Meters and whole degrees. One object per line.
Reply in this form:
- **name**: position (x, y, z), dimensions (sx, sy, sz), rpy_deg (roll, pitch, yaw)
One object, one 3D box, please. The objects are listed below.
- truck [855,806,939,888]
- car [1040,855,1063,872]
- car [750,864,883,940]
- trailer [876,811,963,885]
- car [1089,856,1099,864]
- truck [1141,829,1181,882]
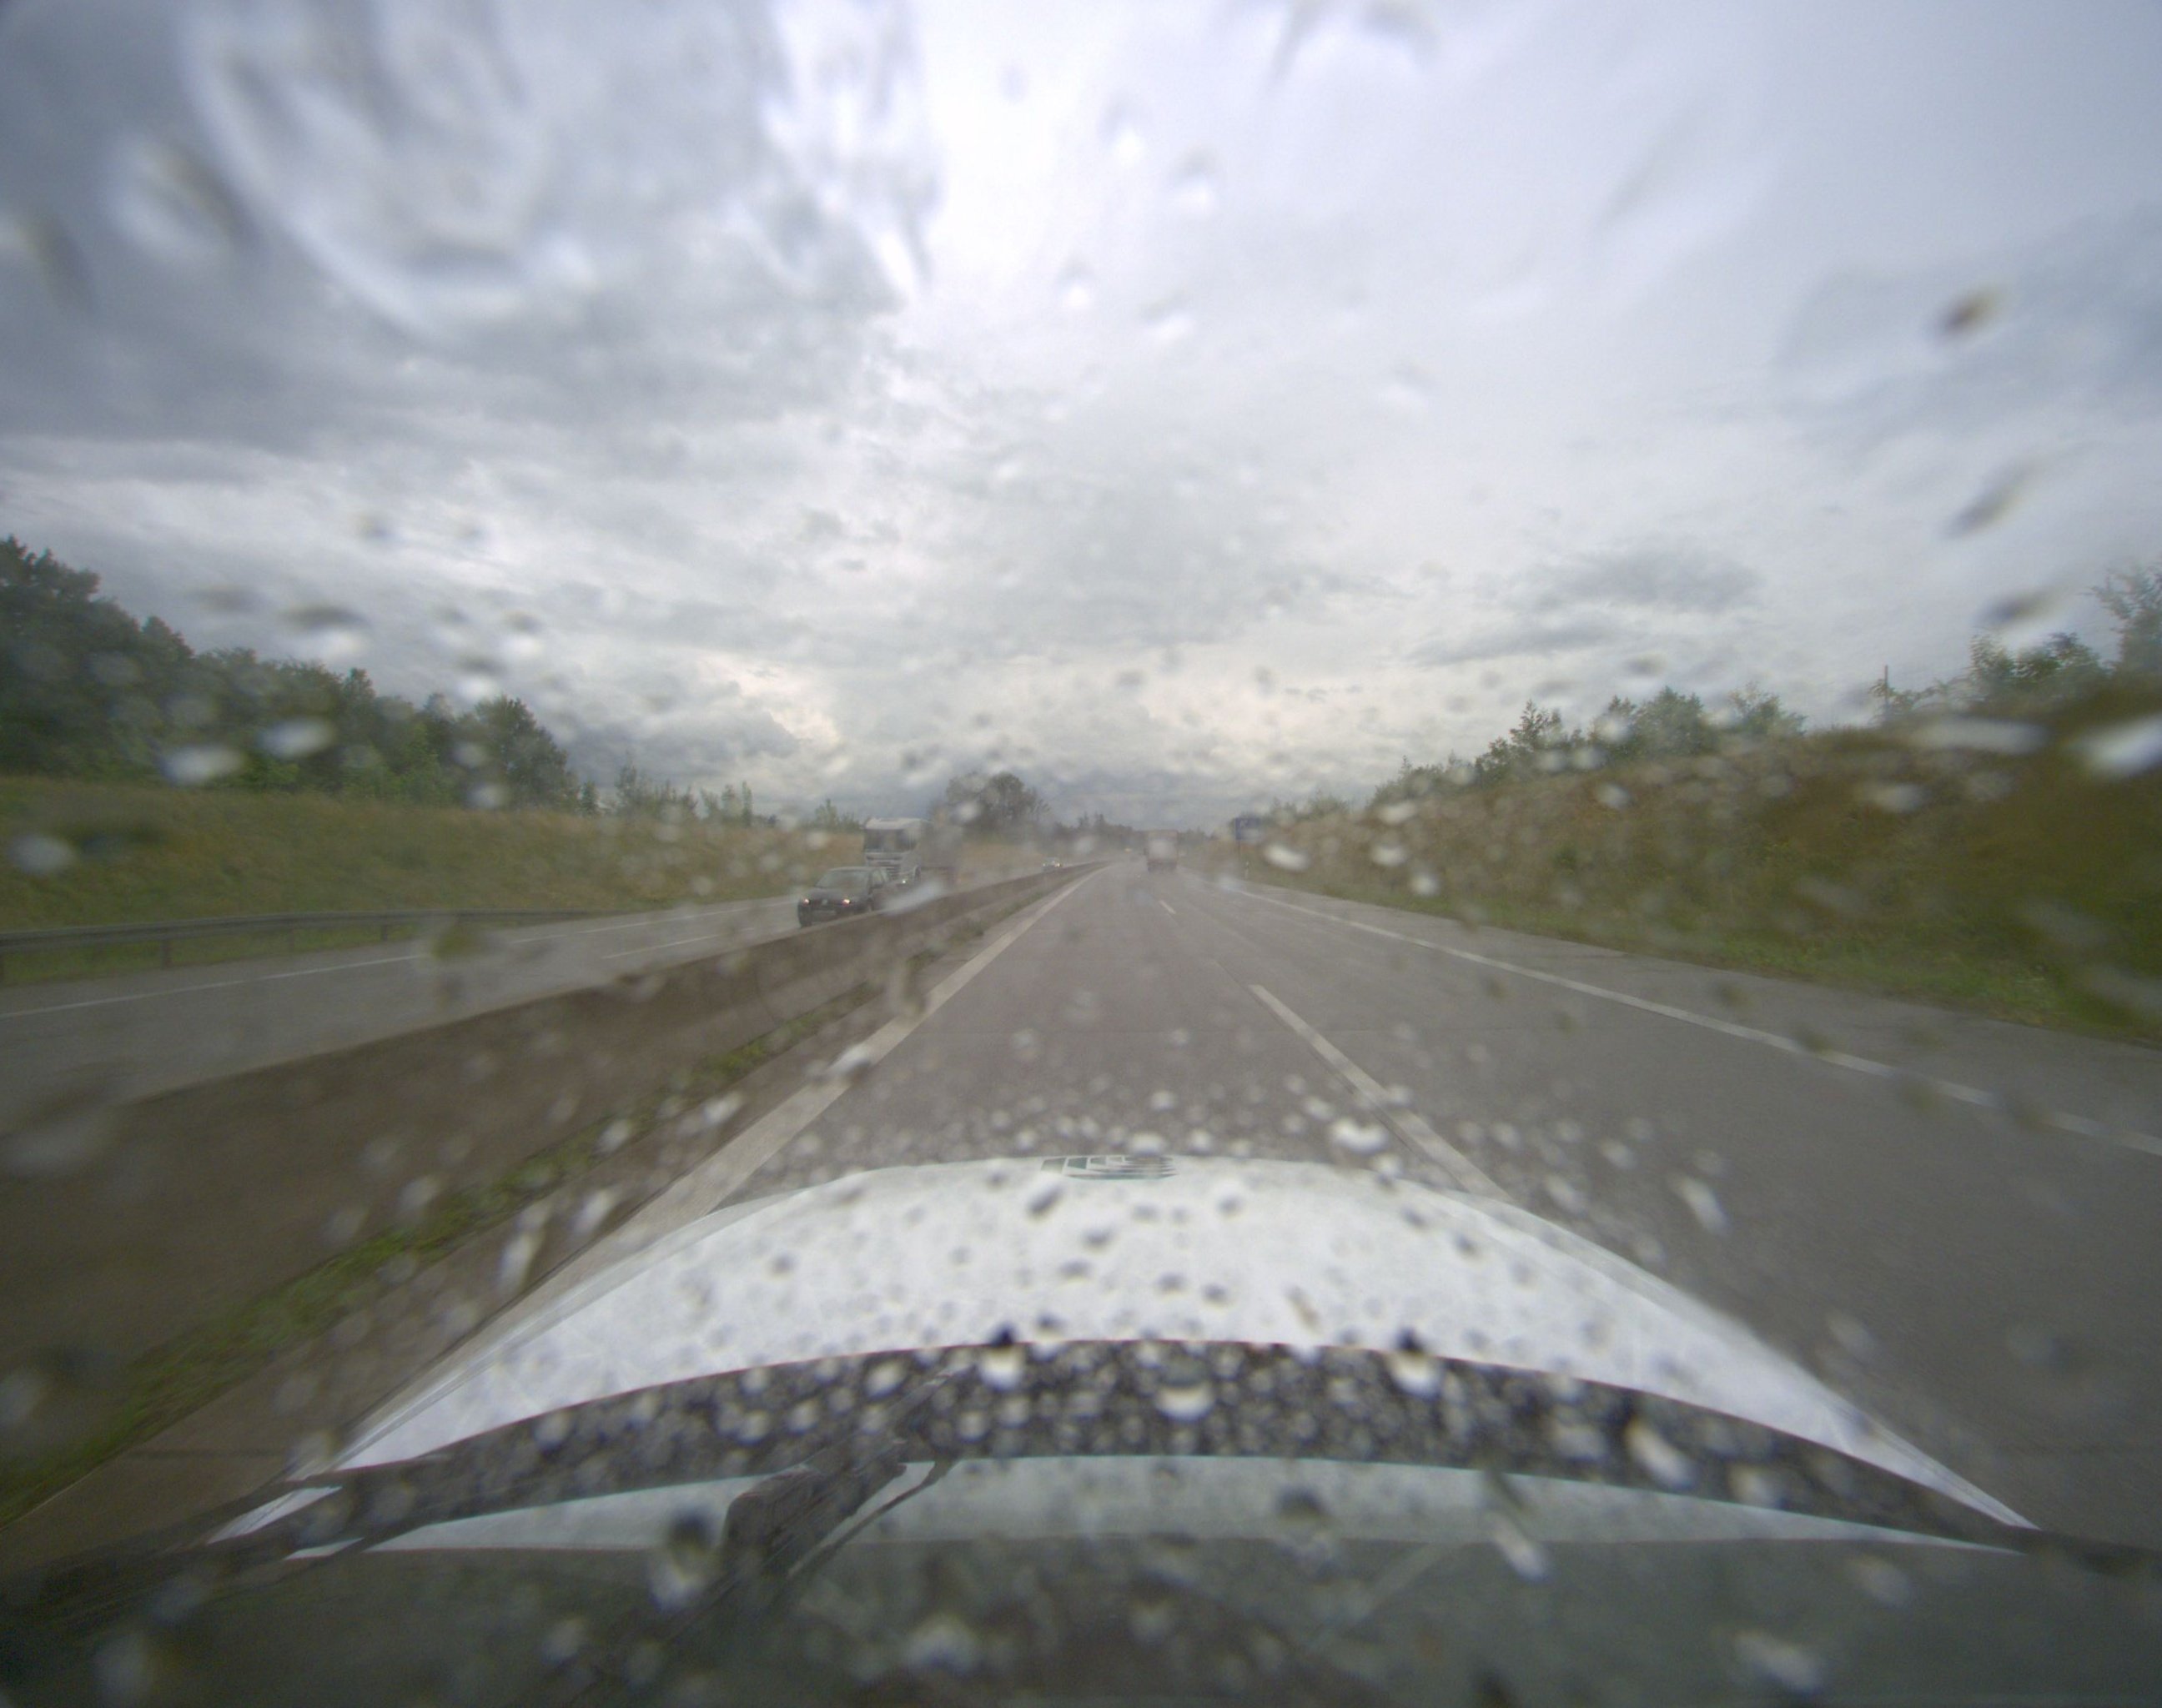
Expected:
- **truck**: position (-9.300, -0.352, 41.687), dimensions (2.875, 3.870, 5.196), rpy_deg (-1, 0, 2)
- **car**: position (-3.094, 0.985, 86.444), dimensions (1.985, 1.518, 4.193), rpy_deg (-3, 2, 3)
- **car**: position (-6.156, 1.056, 19.441), dimensions (1.654, 1.486, 4.002), rpy_deg (-3, 0, 2)
- **trailer**: position (-9.117, -0.381, 47.286), dimensions (2.893, 3.840, 9.363), rpy_deg (-1, 1, 2)
- **car**: position (2.458, 1.108, 156.848), dimensions (1.616, 1.428, 4.004), rpy_deg (-3, 1, 3)
- **truck**: position (7.092, 0.046, 73.272), dimensions (3.230, 4.436, 8.254), rpy_deg (-1, 1, 3)
